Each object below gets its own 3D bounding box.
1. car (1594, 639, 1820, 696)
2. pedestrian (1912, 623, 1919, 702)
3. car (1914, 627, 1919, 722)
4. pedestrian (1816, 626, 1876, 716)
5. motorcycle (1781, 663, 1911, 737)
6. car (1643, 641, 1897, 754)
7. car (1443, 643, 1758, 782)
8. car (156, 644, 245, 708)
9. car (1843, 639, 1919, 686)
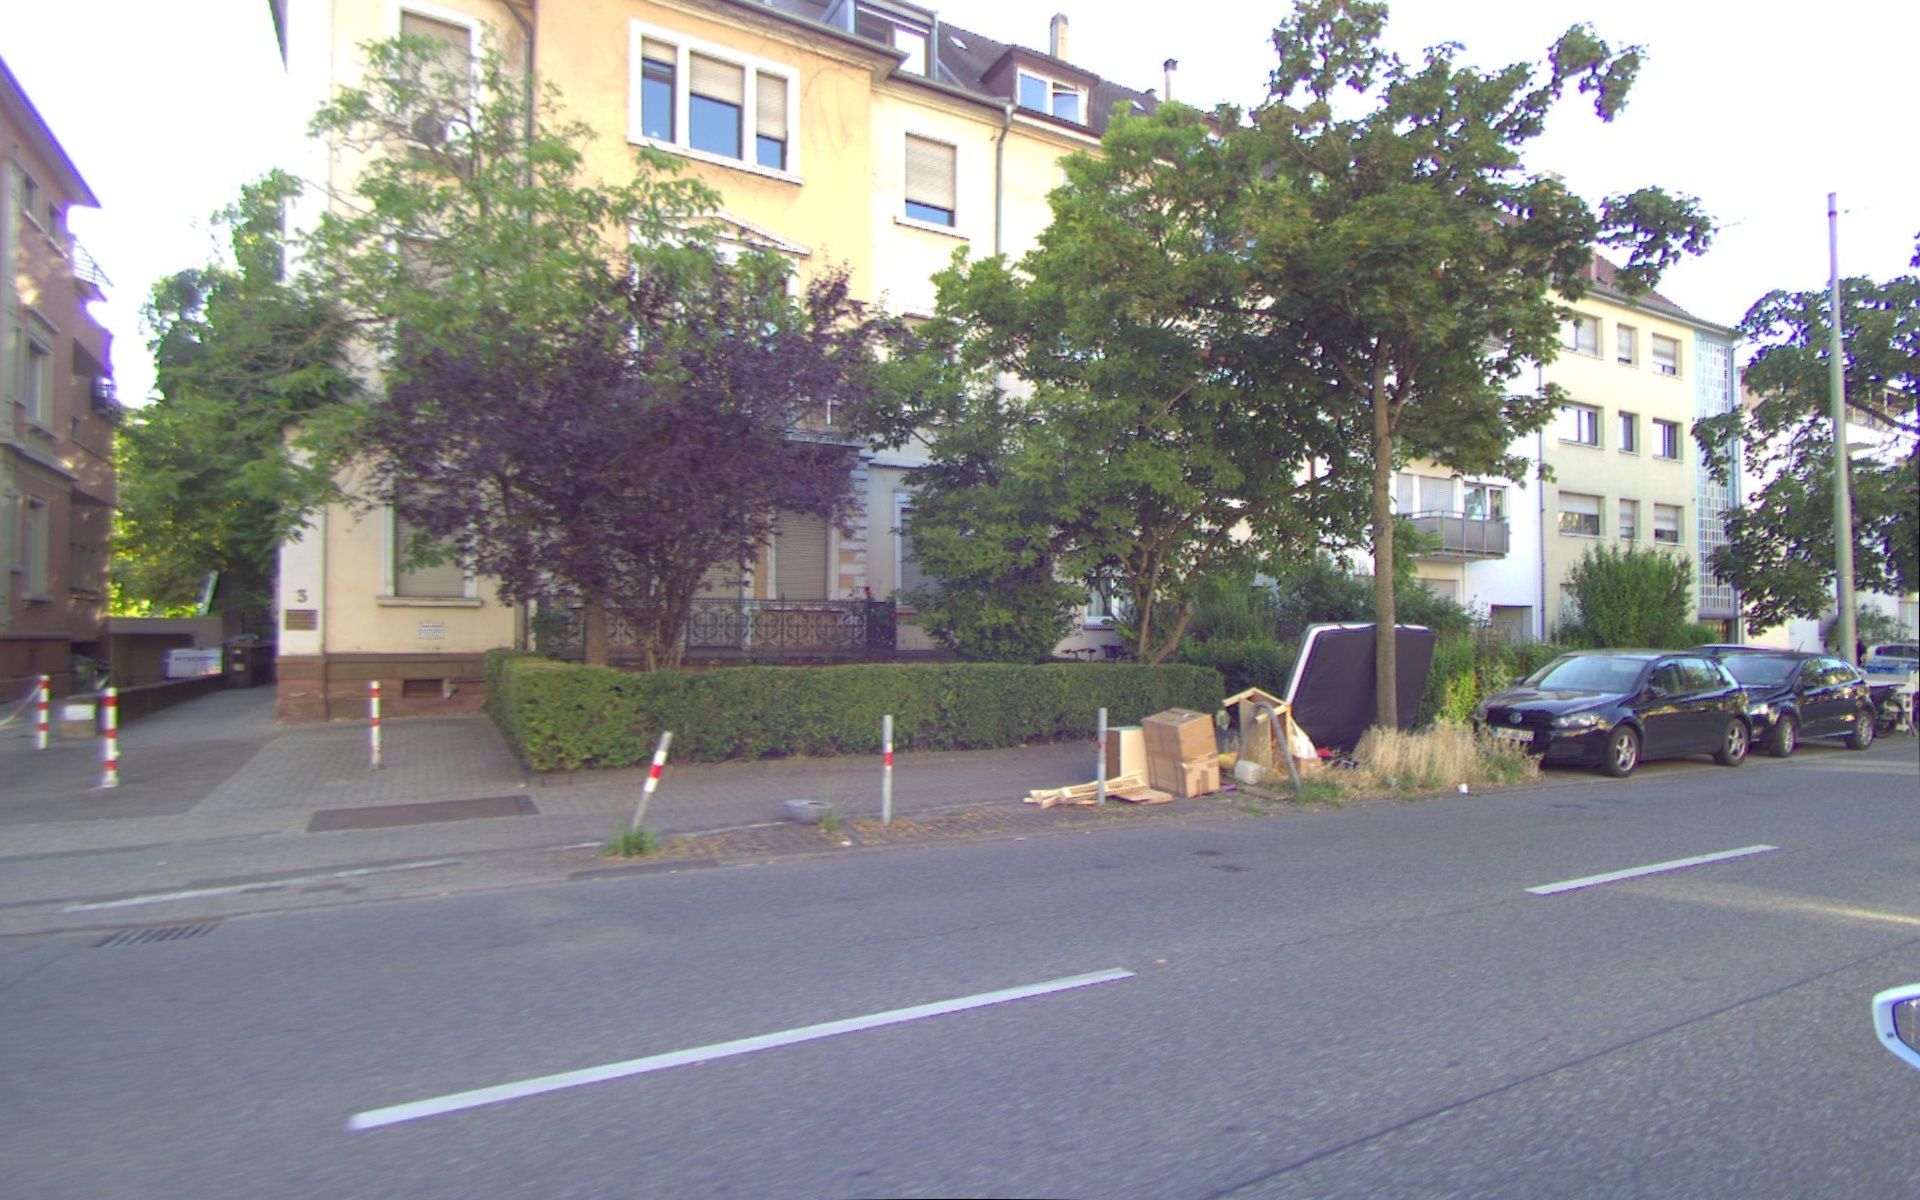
[{"bbox_3d":[20.263,1.780,27.412,1.985,1.380,4.669,1,-2,-41],"label":"car"},{"bbox_3d":[24.972,1.603,25.766,0.609,2.040,0.624,1,-2,-30],"label":"pedestrian"},{"bbox_3d":[21.848,1.527,20.833,4.405,1.944,1.762,1,-2,-29],"label":"car"},{"bbox_3d":[20.551,1.628,23.301,0.964,2.040,0.764,1,-2,-30],"label":"pedestrian"},{"bbox_3d":[15.139,1.696,17.187,1.672,1.207,0.442,0,-1,9],"label":"motorcycle"},{"bbox_3d":[12.604,1.423,15.601,3.930,1.522,1.743,1,-2,-29],"label":"car"},{"bbox_3d":[8.399,1.343,13.110,4.146,1.522,1.743,1,-2,-29],"label":"car"},{"bbox_3d":[-23.106,2.241,30.674,1.796,1.785,3.955,1,-2,-32],"label":"car"},{"bbox_3d":[32.793,2.139,34.035,1.978,1.498,3.965,1,-1,-32],"label":"car"}]
